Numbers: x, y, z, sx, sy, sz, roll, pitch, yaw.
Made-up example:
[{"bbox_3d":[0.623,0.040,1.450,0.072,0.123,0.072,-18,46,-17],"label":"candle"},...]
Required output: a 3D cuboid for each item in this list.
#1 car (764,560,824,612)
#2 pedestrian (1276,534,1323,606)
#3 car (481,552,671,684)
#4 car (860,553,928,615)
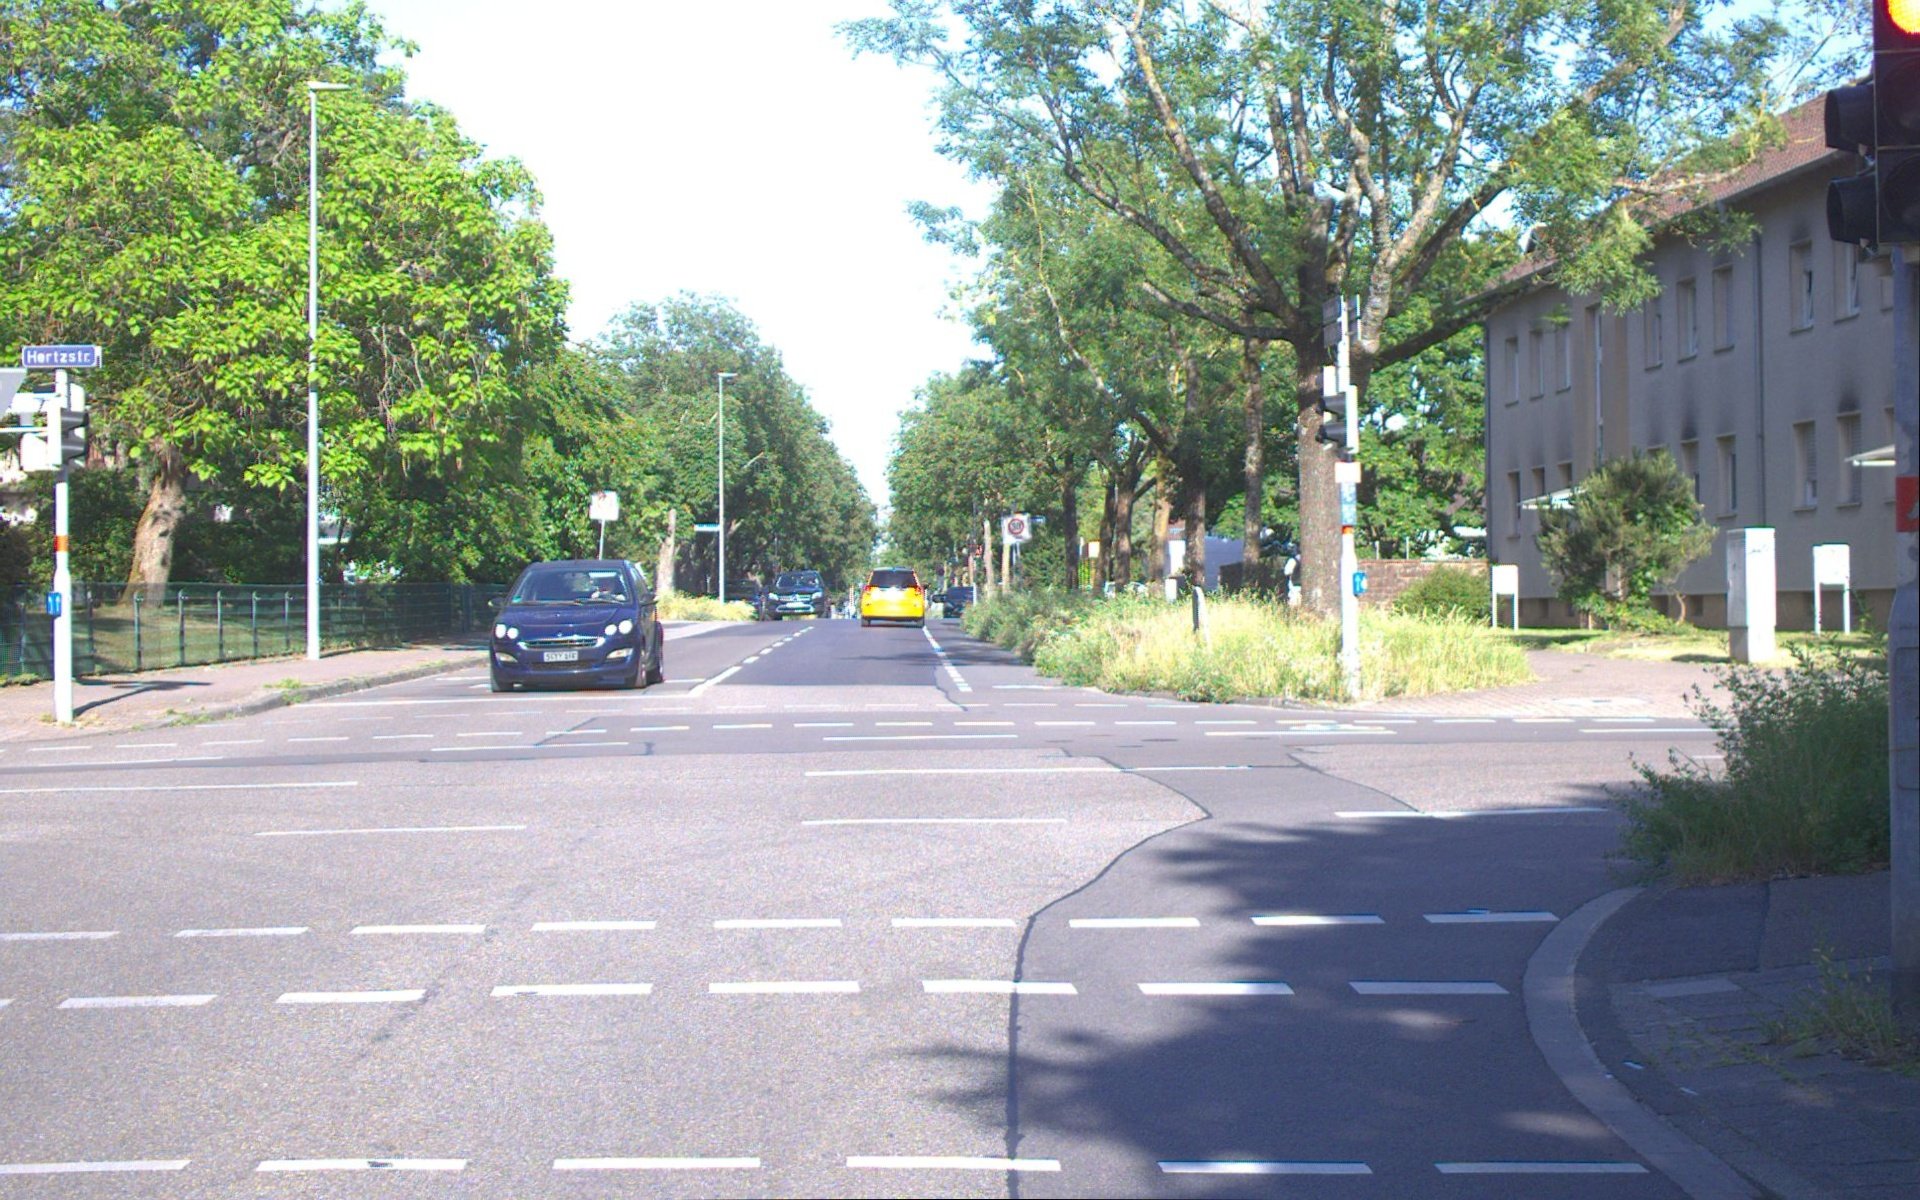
[{"bbox_3d":[-5.300,-0.458,110.084,1.758,1.619,3.268,0,1,0],"label":"car"},{"bbox_3d":[7.123,-0.634,72.204,0.842,1.488,0.924,2,1,-1],"label":"pedestrian"},{"bbox_3d":[-4.267,0.173,38.623,1.711,1.381,3.471,0,1,0],"label":"car"},{"bbox_3d":[-1.742,-0.435,91.965,1.751,1.577,4.000,1,0,0],"label":"car"}]
